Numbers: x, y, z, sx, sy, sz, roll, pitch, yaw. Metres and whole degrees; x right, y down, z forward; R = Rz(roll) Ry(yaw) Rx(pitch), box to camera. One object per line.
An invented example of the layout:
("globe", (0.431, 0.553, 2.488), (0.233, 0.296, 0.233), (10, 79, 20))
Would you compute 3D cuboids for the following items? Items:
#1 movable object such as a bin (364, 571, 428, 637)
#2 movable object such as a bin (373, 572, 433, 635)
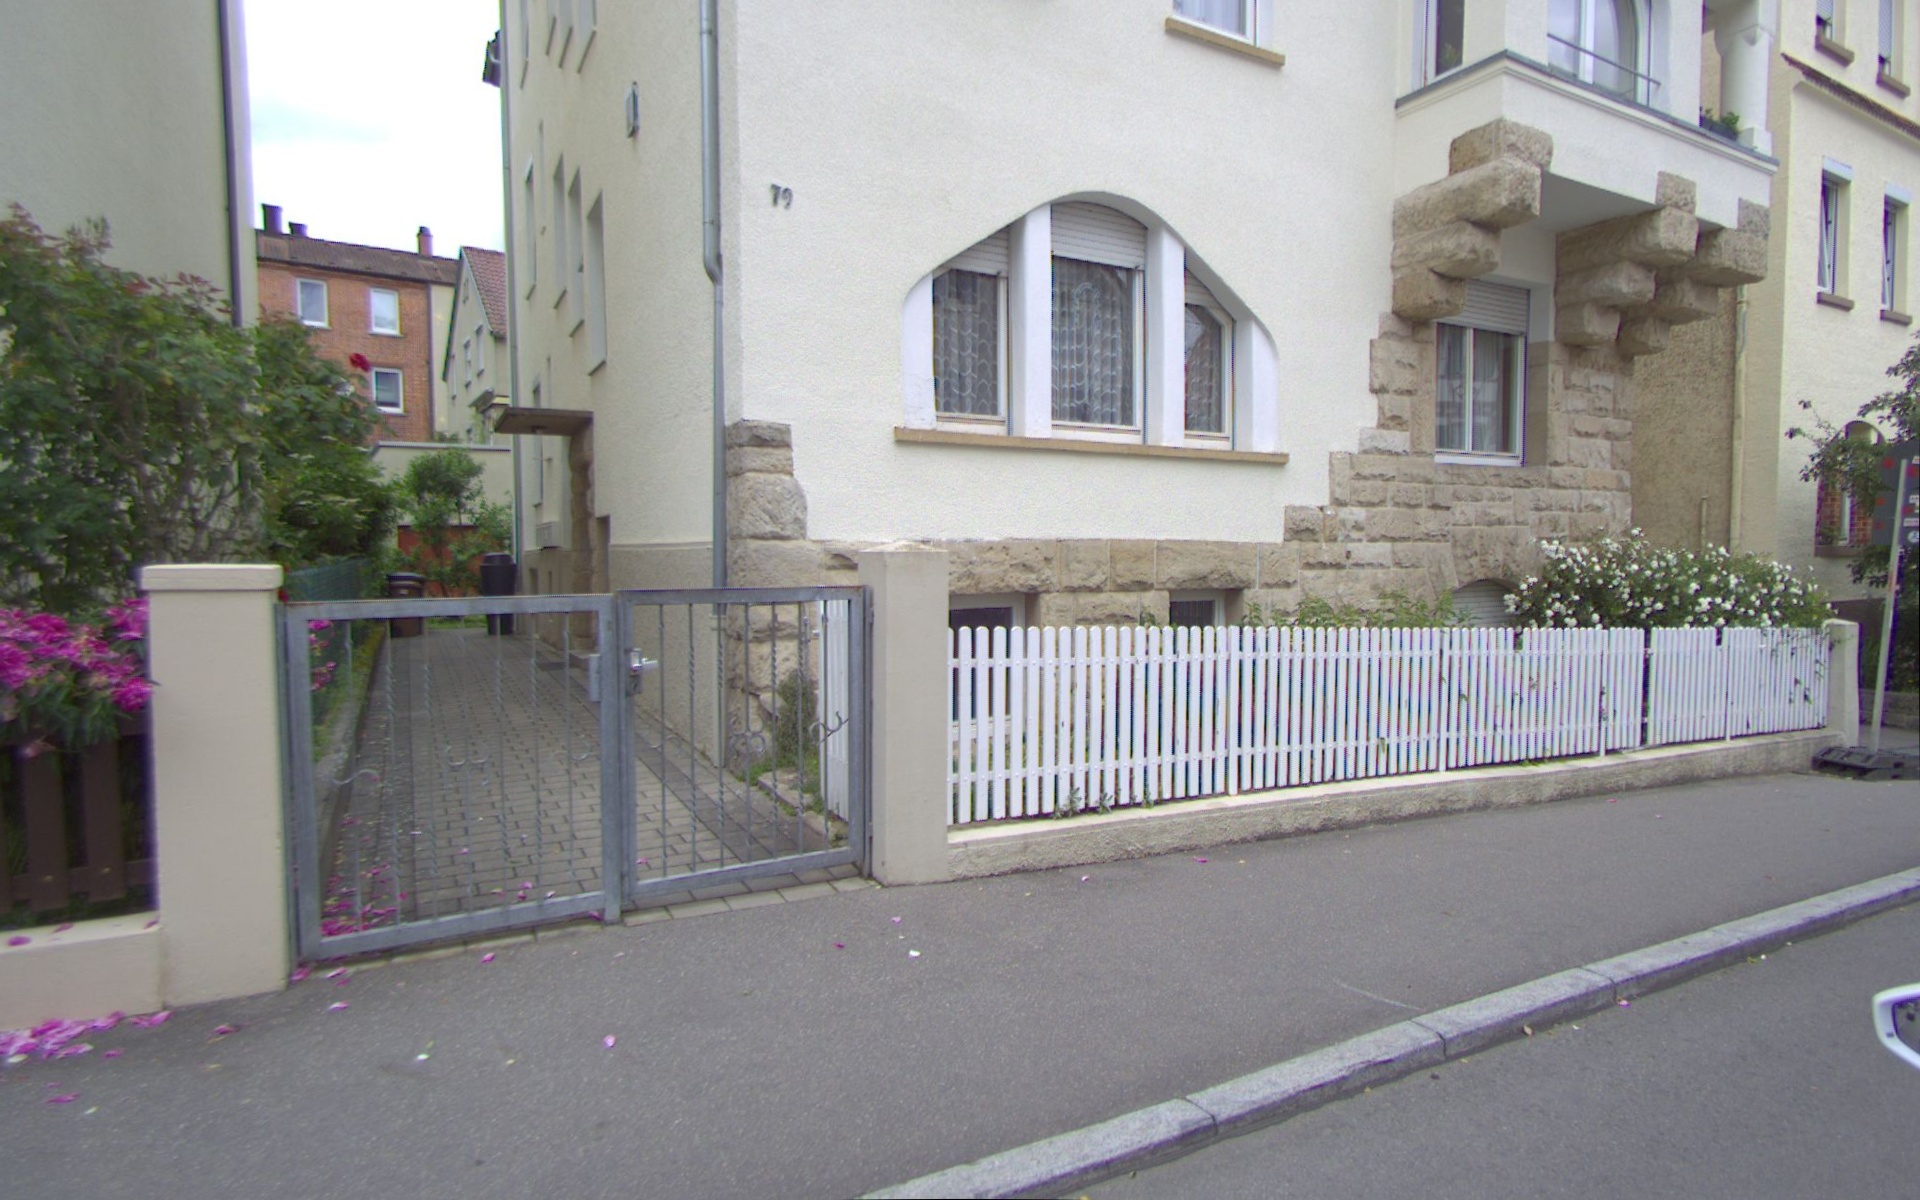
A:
("movable object such as a bin", (-9.245, 0.065, 16.476), (0.881, 1.053, 0.861), (1, 0, -30))
("movable object such as a bin", (-9.624, 0.067, 17.364), (0.881, 1.053, 0.861), (1, 0, -30))
